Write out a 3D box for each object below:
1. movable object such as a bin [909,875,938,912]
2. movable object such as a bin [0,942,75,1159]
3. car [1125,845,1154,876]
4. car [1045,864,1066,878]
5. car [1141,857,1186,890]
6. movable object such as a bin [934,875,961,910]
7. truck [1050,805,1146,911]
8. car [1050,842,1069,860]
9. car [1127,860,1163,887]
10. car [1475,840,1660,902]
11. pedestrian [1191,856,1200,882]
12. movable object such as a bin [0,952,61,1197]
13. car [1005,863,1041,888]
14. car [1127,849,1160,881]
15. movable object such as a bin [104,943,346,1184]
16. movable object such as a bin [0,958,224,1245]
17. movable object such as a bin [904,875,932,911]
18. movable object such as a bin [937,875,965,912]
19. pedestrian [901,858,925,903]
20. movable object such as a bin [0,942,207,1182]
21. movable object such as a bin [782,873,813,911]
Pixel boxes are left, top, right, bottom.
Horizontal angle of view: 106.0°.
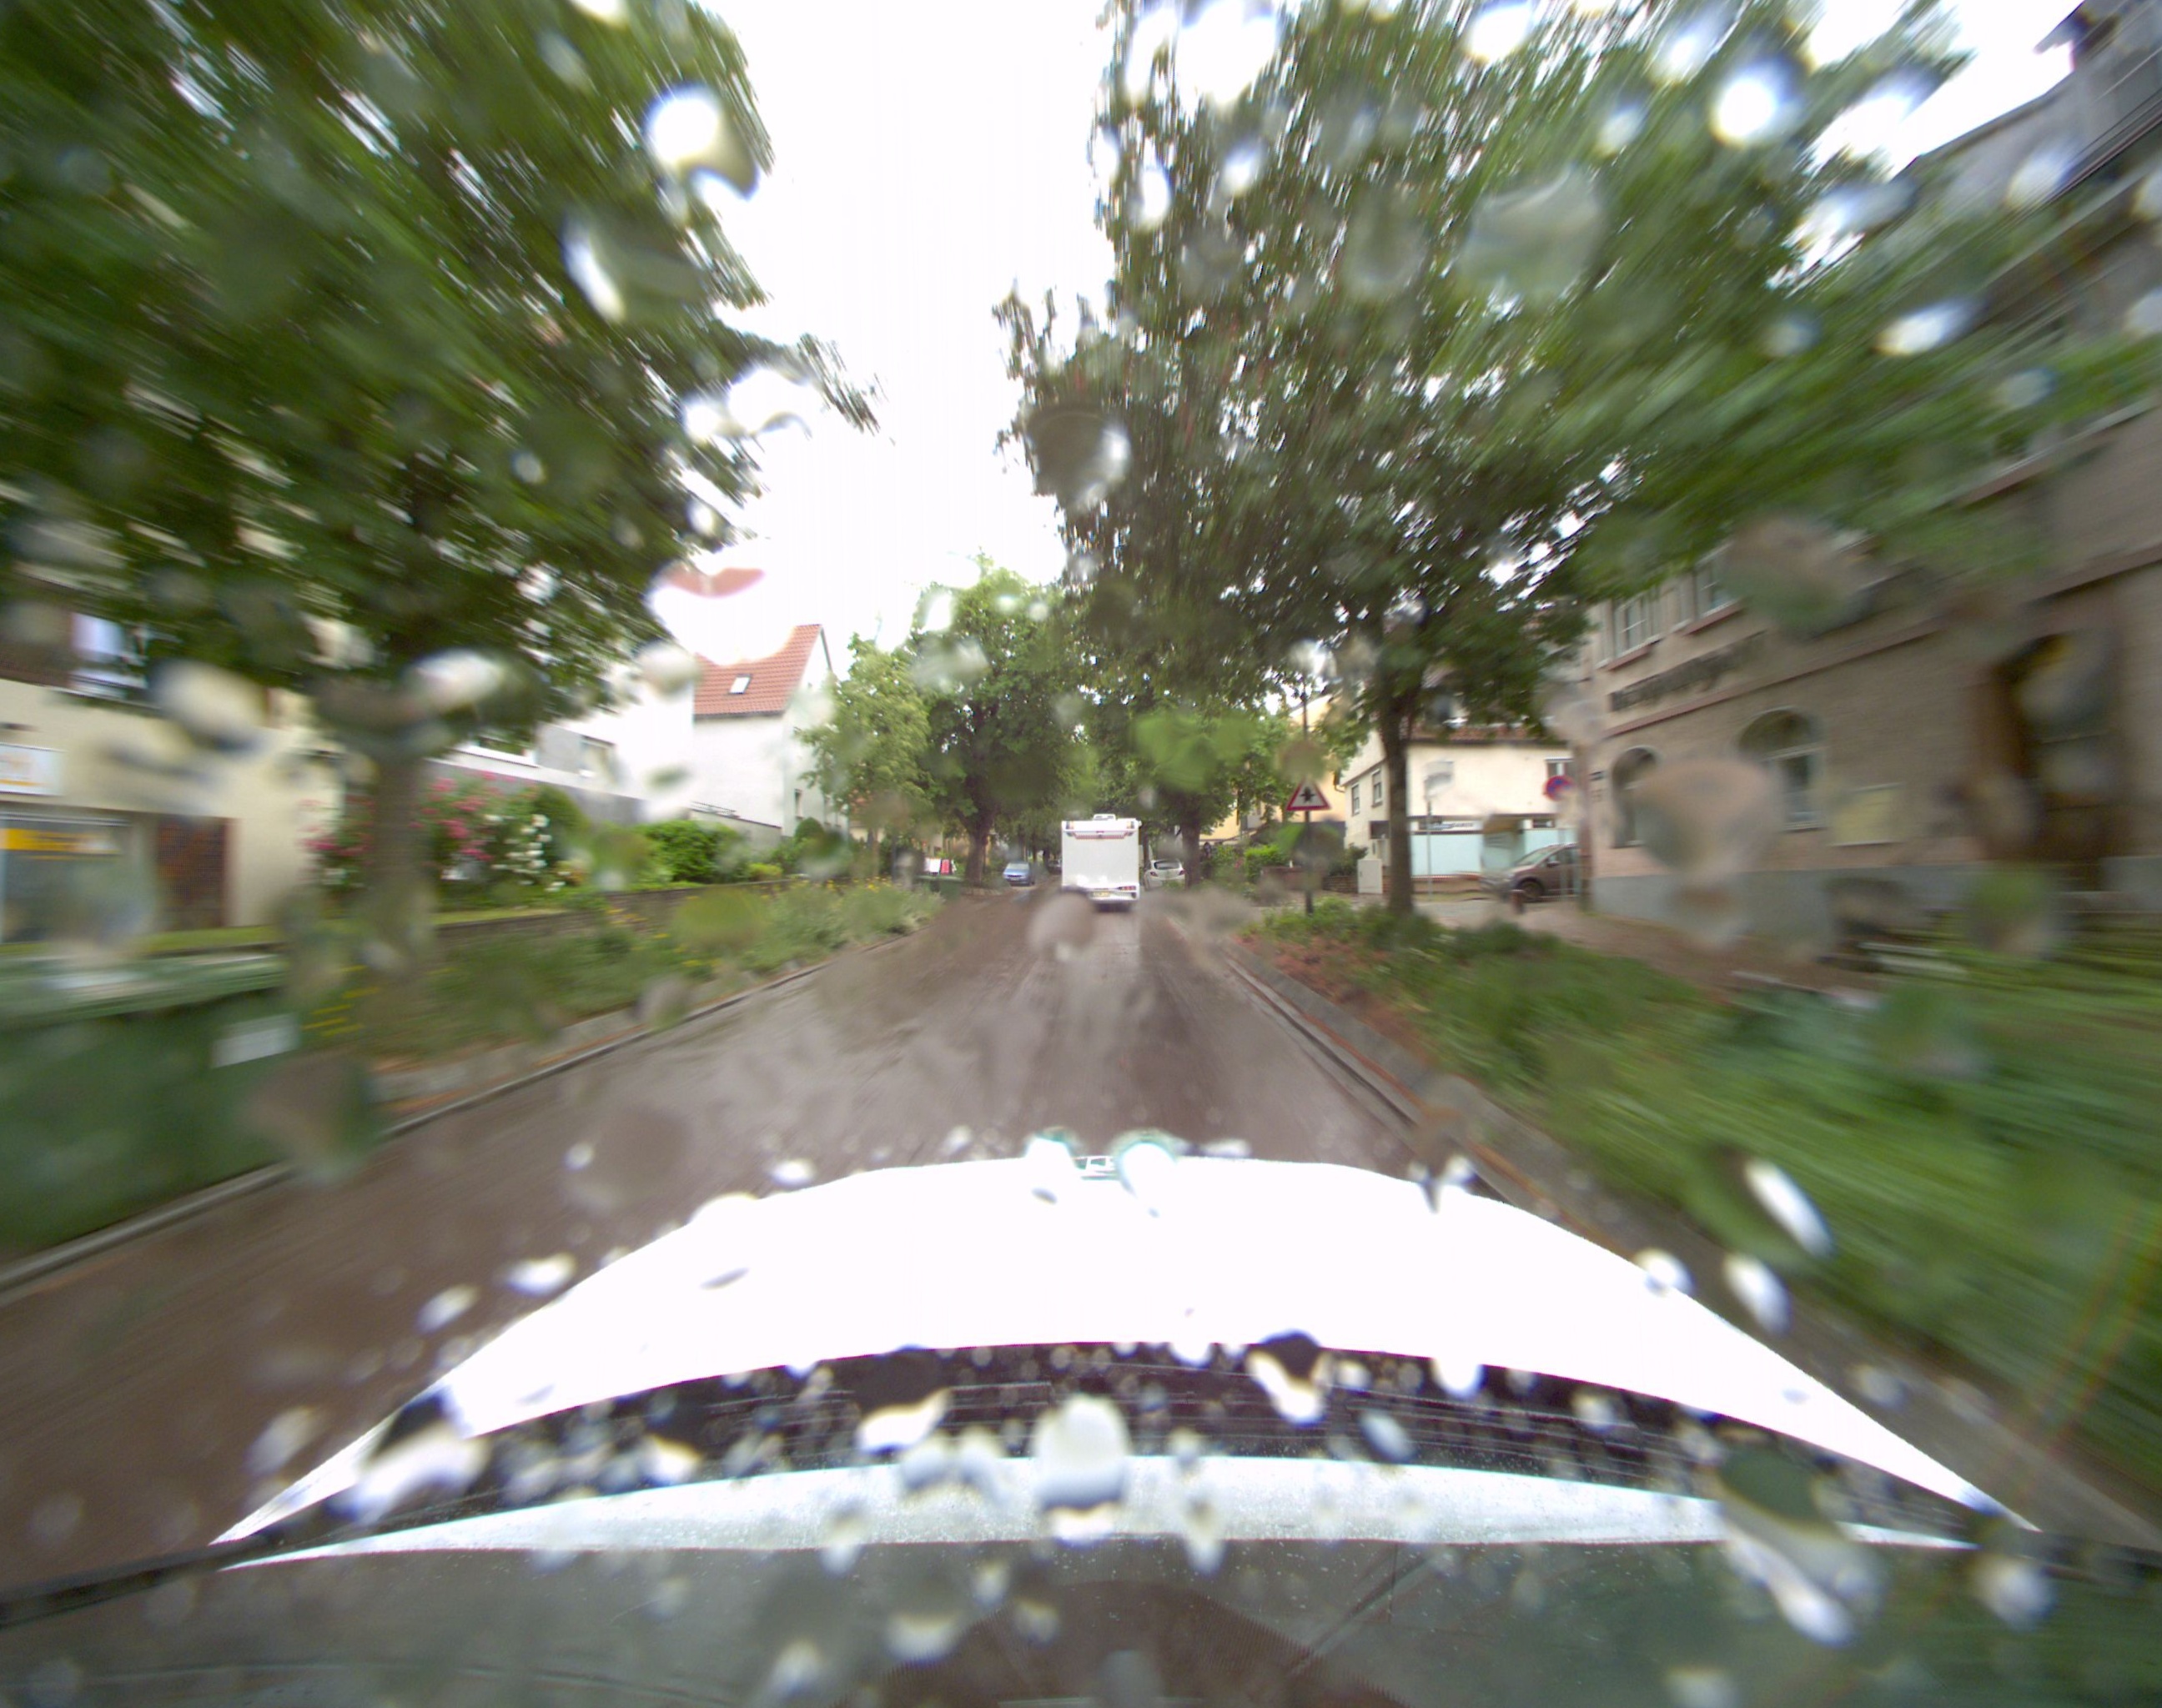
[{"bbox_3d":[-4.684,1.169,24.250,0.660,1.074,0.597,-2,-2,6],"label":"movable object such as a bin"},{"bbox_3d":[-5.753,1.007,4.118,0.615,1.059,0.561,0,-1,0],"label":"movable object such as a bin"},{"bbox_3d":[4.756,0.534,66.909,2.133,2.460,5.437,0,-1,2],"label":"car"},{"bbox_3d":[-2.676,1.761,86.049,1.765,1.389,4.549,1,0,3],"label":"car"},{"bbox_3d":[3.660,0.857,36.766,1.675,1.399,3.795,-1,-1,1],"label":"car"},{"bbox_3d":[-4.071,1.172,24.930,0.660,1.067,0.597,-2,-2,6],"label":"movable object such as a bin"},{"bbox_3d":[0.569,0.150,26.118,2.684,2.986,6.238,0,-1,2],"label":"truck"},{"bbox_3d":[-2.575,-0.317,96.400,1.986,2.014,4.001,0,-1,2],"label":"car"},{"bbox_3d":[3.548,1.056,45.735,1.802,1.411,3.784,0,0,1],"label":"car"},{"bbox_3d":[13.824,0.477,23.368,4.158,1.584,1.844,-2,-1,7],"label":"car"},{"bbox_3d":[7.630,1.005,54.206,0.487,1.731,0.771,-1,-1,12],"label":"pedestrian"},{"bbox_3d":[-5.100,0.983,3.507,0.621,1.061,0.582,2,-1,0],"label":"movable object such as a bin"},{"bbox_3d":[-3.452,1.271,48.962,1.742,1.396,3.798,0,-1,2],"label":"car"},{"bbox_3d":[4.173,0.735,54.999,1.986,2.014,4.001,0,-1,2],"label":"car"},{"bbox_3d":[-4.347,1.031,4.177,0.582,1.077,0.570,2,-1,-1],"label":"movable object such as a bin"},{"bbox_3d":[-4.369,1.026,3.542,0.626,1.059,0.565,2,-1,0],"label":"movable object such as a bin"},{"bbox_3d":[-5.009,1.186,25.033,0.660,1.074,0.597,-2,-2,6],"label":"movable object such as a bin"},{"bbox_3d":[-3.854,1.163,24.153,0.660,1.074,0.597,-2,-2,6],"label":"movable object such as a bin"},{"bbox_3d":[-6.060,0.931,29.409,0.647,1.594,0.932,0,-1,1],"label":"pedestrian"},{"bbox_3d":[-5.086,1.013,4.138,0.615,1.059,0.569,2,-1,0],"label":"movable object such as a bin"},{"bbox_3d":[-8.662,1.159,24.896,0.659,1.133,0.659,0,-1,4],"label":"movable object such as a bin"}]
